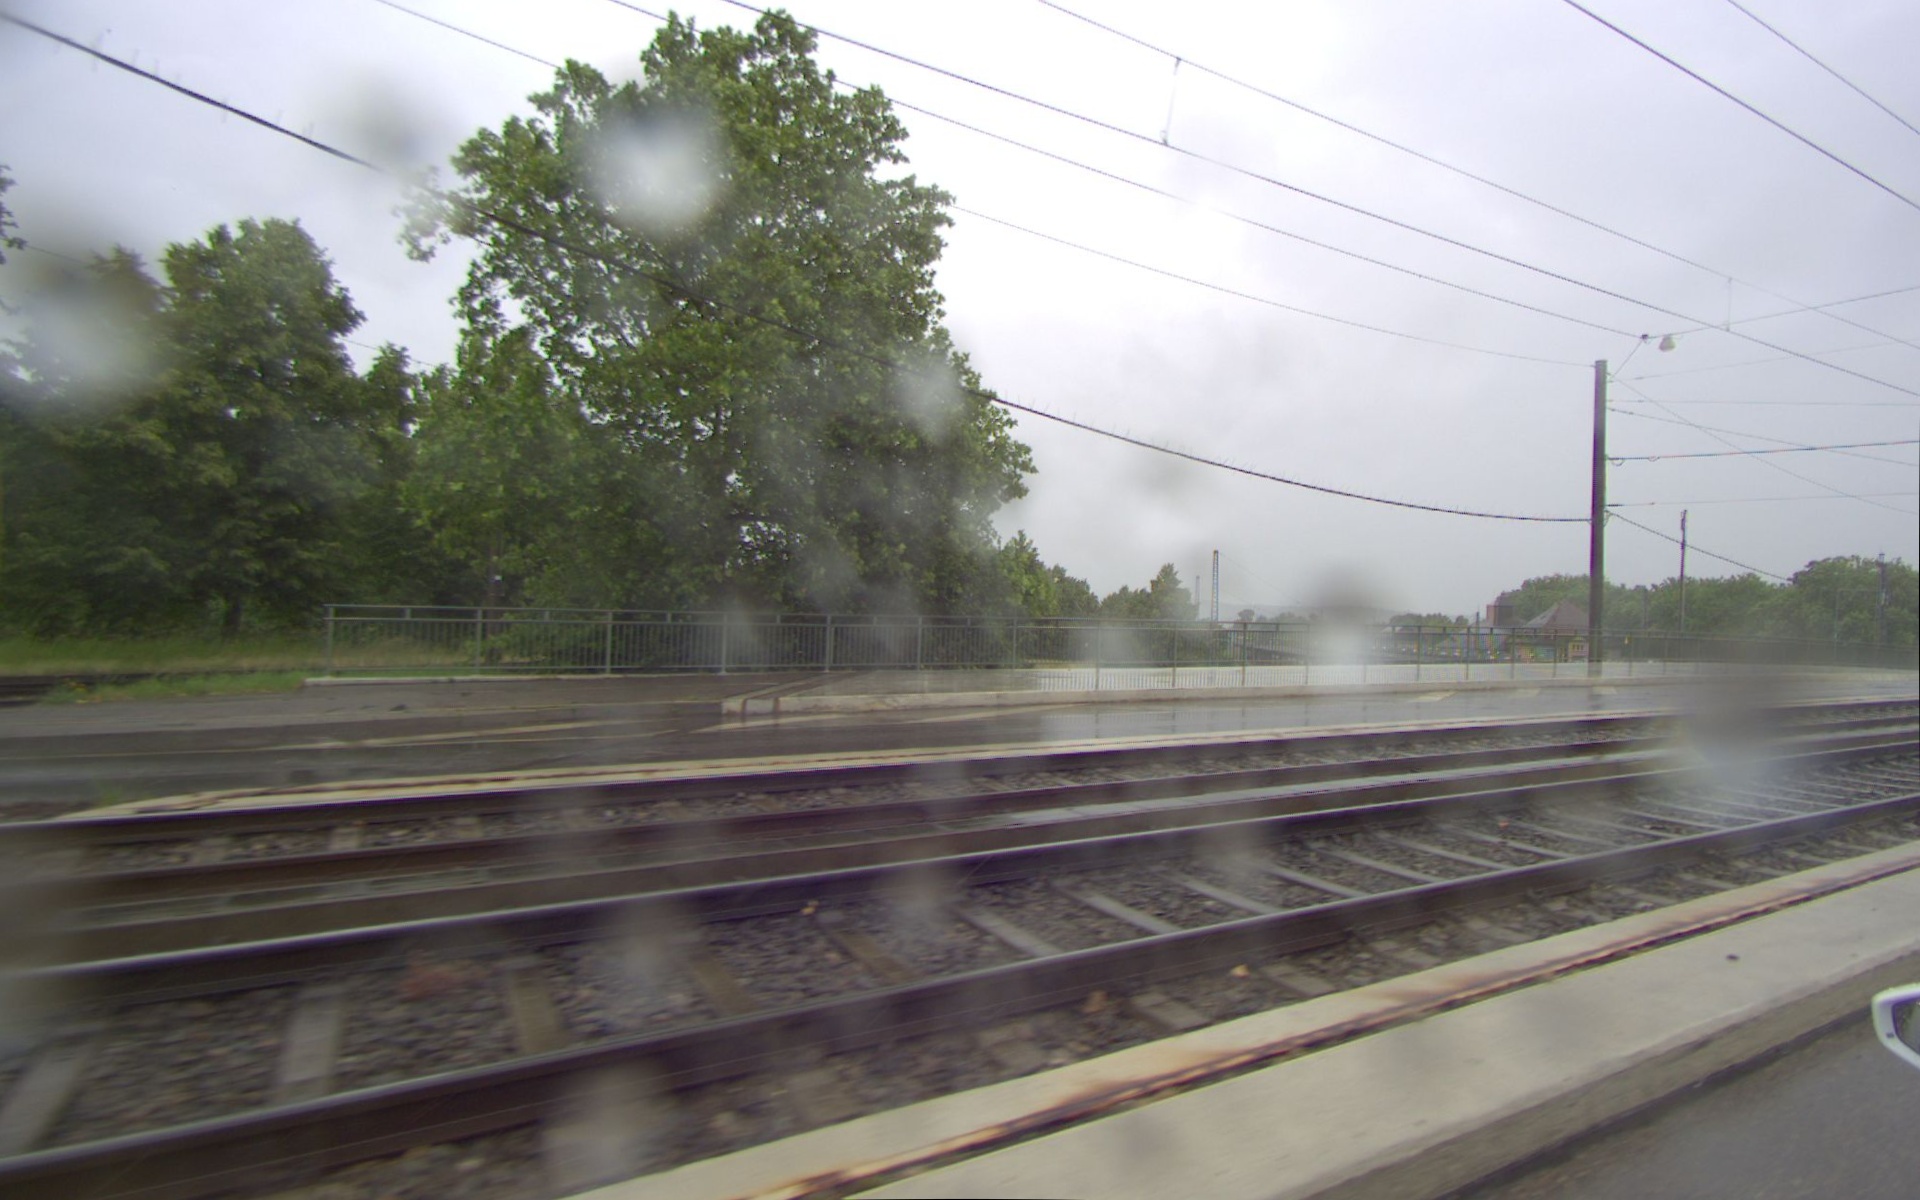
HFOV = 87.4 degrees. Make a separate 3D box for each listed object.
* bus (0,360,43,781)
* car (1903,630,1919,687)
[{"bbox_3d":[-12.266,-0.294,5.075,10.864,3.385,2.695,1,-2,-31],"label":"bus"},{"bbox_3d":[31.918,1.912,31.631,4.885,1.739,1.984,3,-3,-31],"label":"car"}]
